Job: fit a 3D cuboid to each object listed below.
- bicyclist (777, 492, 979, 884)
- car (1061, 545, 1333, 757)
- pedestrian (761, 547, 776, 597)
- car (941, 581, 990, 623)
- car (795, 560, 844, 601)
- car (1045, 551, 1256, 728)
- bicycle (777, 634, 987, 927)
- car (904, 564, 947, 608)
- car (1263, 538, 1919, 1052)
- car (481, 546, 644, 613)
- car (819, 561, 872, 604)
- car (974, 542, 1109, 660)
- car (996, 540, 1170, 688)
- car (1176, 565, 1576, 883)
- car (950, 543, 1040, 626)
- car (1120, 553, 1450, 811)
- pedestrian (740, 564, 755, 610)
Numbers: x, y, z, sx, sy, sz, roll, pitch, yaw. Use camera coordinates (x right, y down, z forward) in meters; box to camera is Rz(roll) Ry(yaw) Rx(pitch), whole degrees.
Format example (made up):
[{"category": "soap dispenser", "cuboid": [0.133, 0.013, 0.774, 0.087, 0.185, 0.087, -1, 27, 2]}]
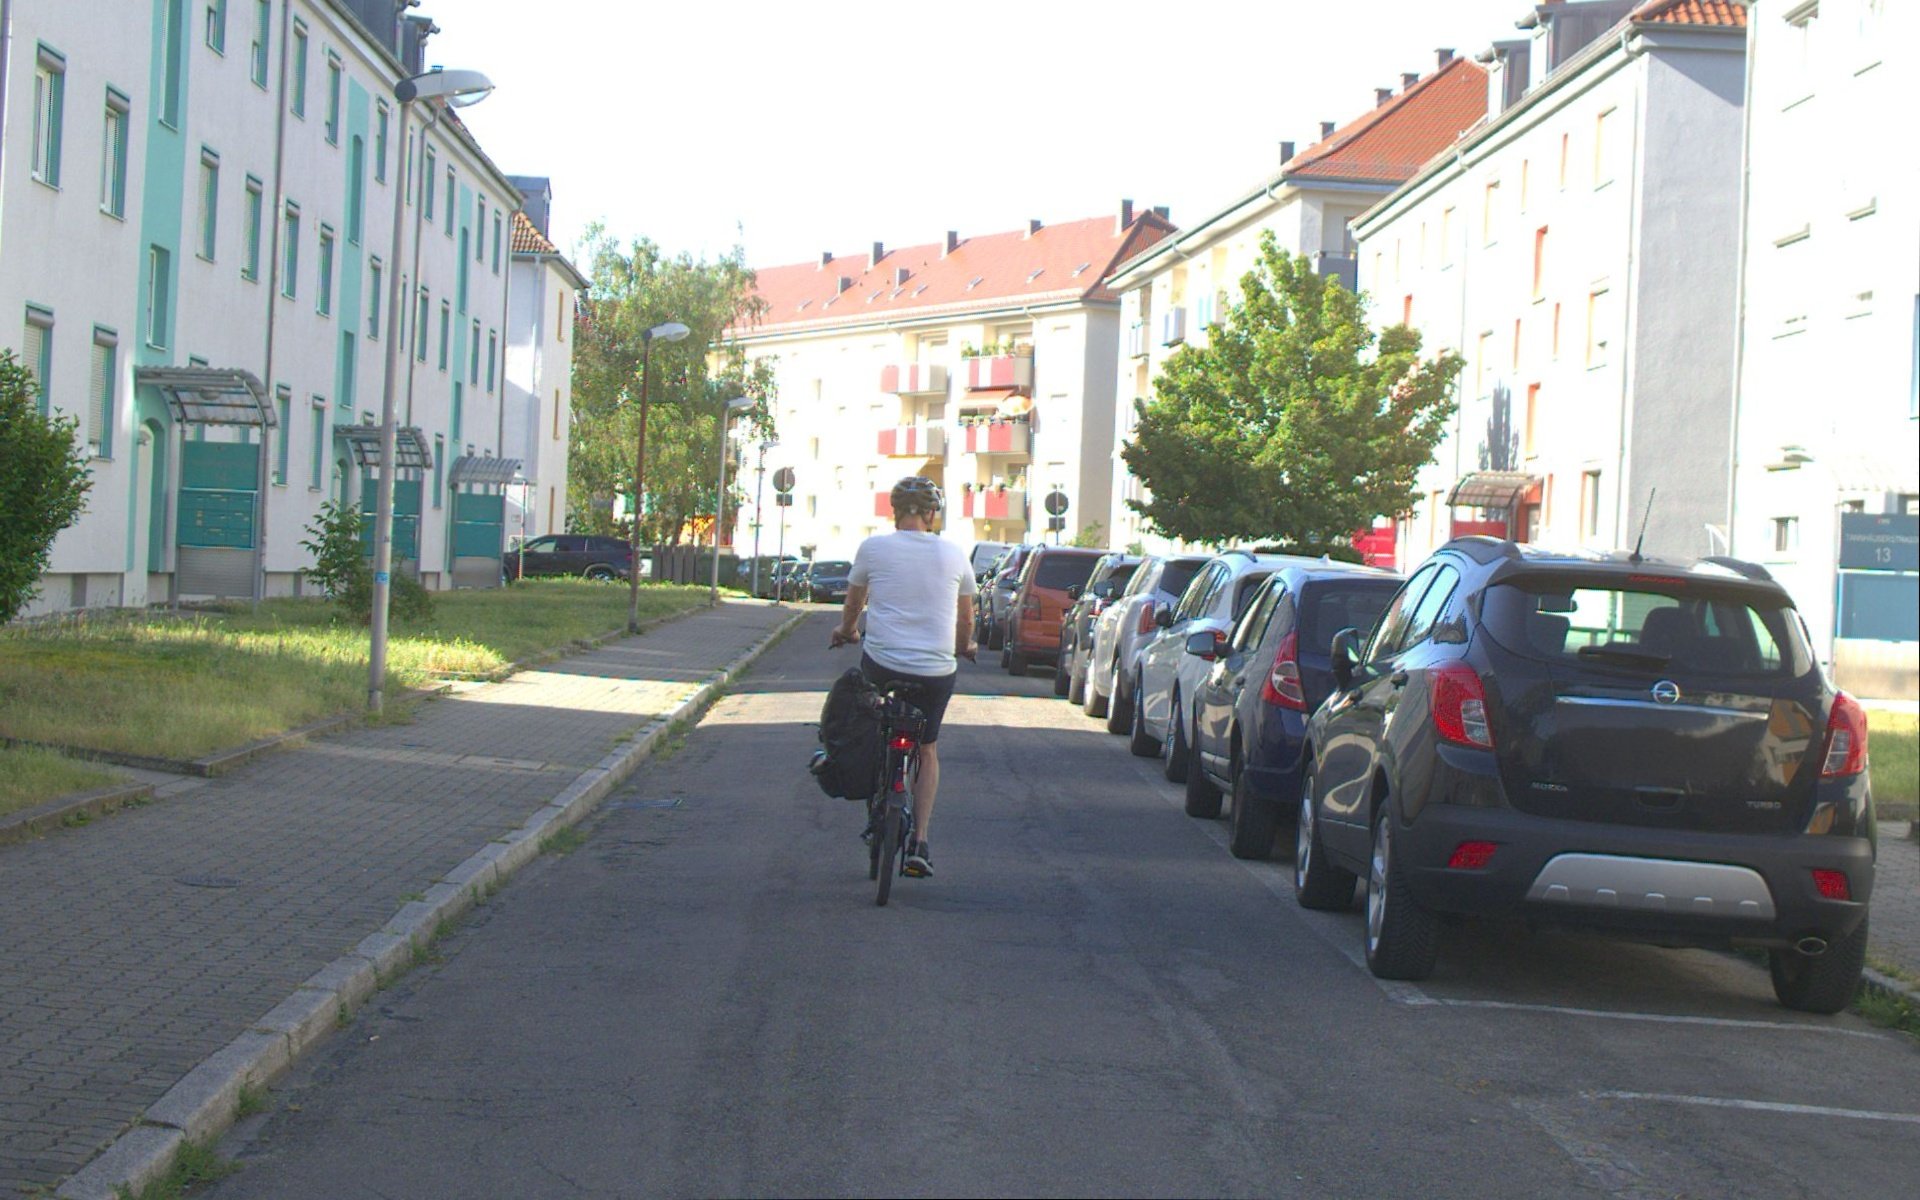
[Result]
[{"category": "bicyclist", "cuboid": [-0.368, 0.366, 14.958, 0.808, 1.638, 0.899, 1, 1, -3]}, {"category": "car", "cuboid": [2.032, 0.388, 30.717, 1.750, 1.612, 4.453, 5, 1, -3]}, {"category": "pedestrian", "cuboid": [-5.961, -0.875, 106.887, 0.434, 1.569, 0.543, 1, 1, -1]}, {"category": "car", "cuboid": [0.183, 0.051, 120.285, 1.469, 1.331, 3.141, 3, 1, -3]}, {"category": "car", "cuboid": [-4.717, -0.666, 115.017, 1.469, 1.331, 3.141, -1, 1, -5]}, {"category": "car", "cuboid": [1.926, 0.359, 35.928, 1.712, 1.590, 4.398, 5, 1, -2]}, {"category": "bicycle", "cuboid": [-0.373, 0.746, 15.027, 0.808, 1.124, 2.102, 1, 1, -4]}, {"category": "car", "cuboid": [-1.286, -0.524, 127.188, 1.381, 1.492, 3.077, 3, 1, -3]}, {"category": "car", "cuboid": [2.379, 0.633, 13.968, 1.783, 1.642, 4.469, 4, 1, 0]}, {"category": "car", "cuboid": [-10.592, -0.548, 91.805, 4.230, 1.633, 1.583, 2, 1, -5]}, {"category": "car", "cuboid": [-3.696, -0.563, 110.681, 1.469, 1.331, 3.141, -1, 1, -6]}, {"category": "car", "cuboid": [1.248, -0.023, 54.167, 1.700, 1.665, 4.380, 4, 1, -3]}, {"category": "car", "cuboid": [1.508, 0.148, 43.584, 1.861, 1.662, 4.127, 4, 1, -1]}, {"category": "car", "cuboid": [2.186, 0.593, 19.063, 1.641, 1.493, 4.156, 2, 1, 0]}, {"category": "car", "cuboid": [0.760, -0.378, 77.672, 1.674, 1.733, 3.943, 3, 1, -3]}, {"category": "car", "cuboid": [2.226, 0.509, 24.671, 1.690, 1.569, 4.435, 3, 1, -2]}, {"category": "pedestrian", "cuboid": [-6.614, -0.408, 106.797, 0.434, 1.422, 0.543, 1, 1, -2]}]
